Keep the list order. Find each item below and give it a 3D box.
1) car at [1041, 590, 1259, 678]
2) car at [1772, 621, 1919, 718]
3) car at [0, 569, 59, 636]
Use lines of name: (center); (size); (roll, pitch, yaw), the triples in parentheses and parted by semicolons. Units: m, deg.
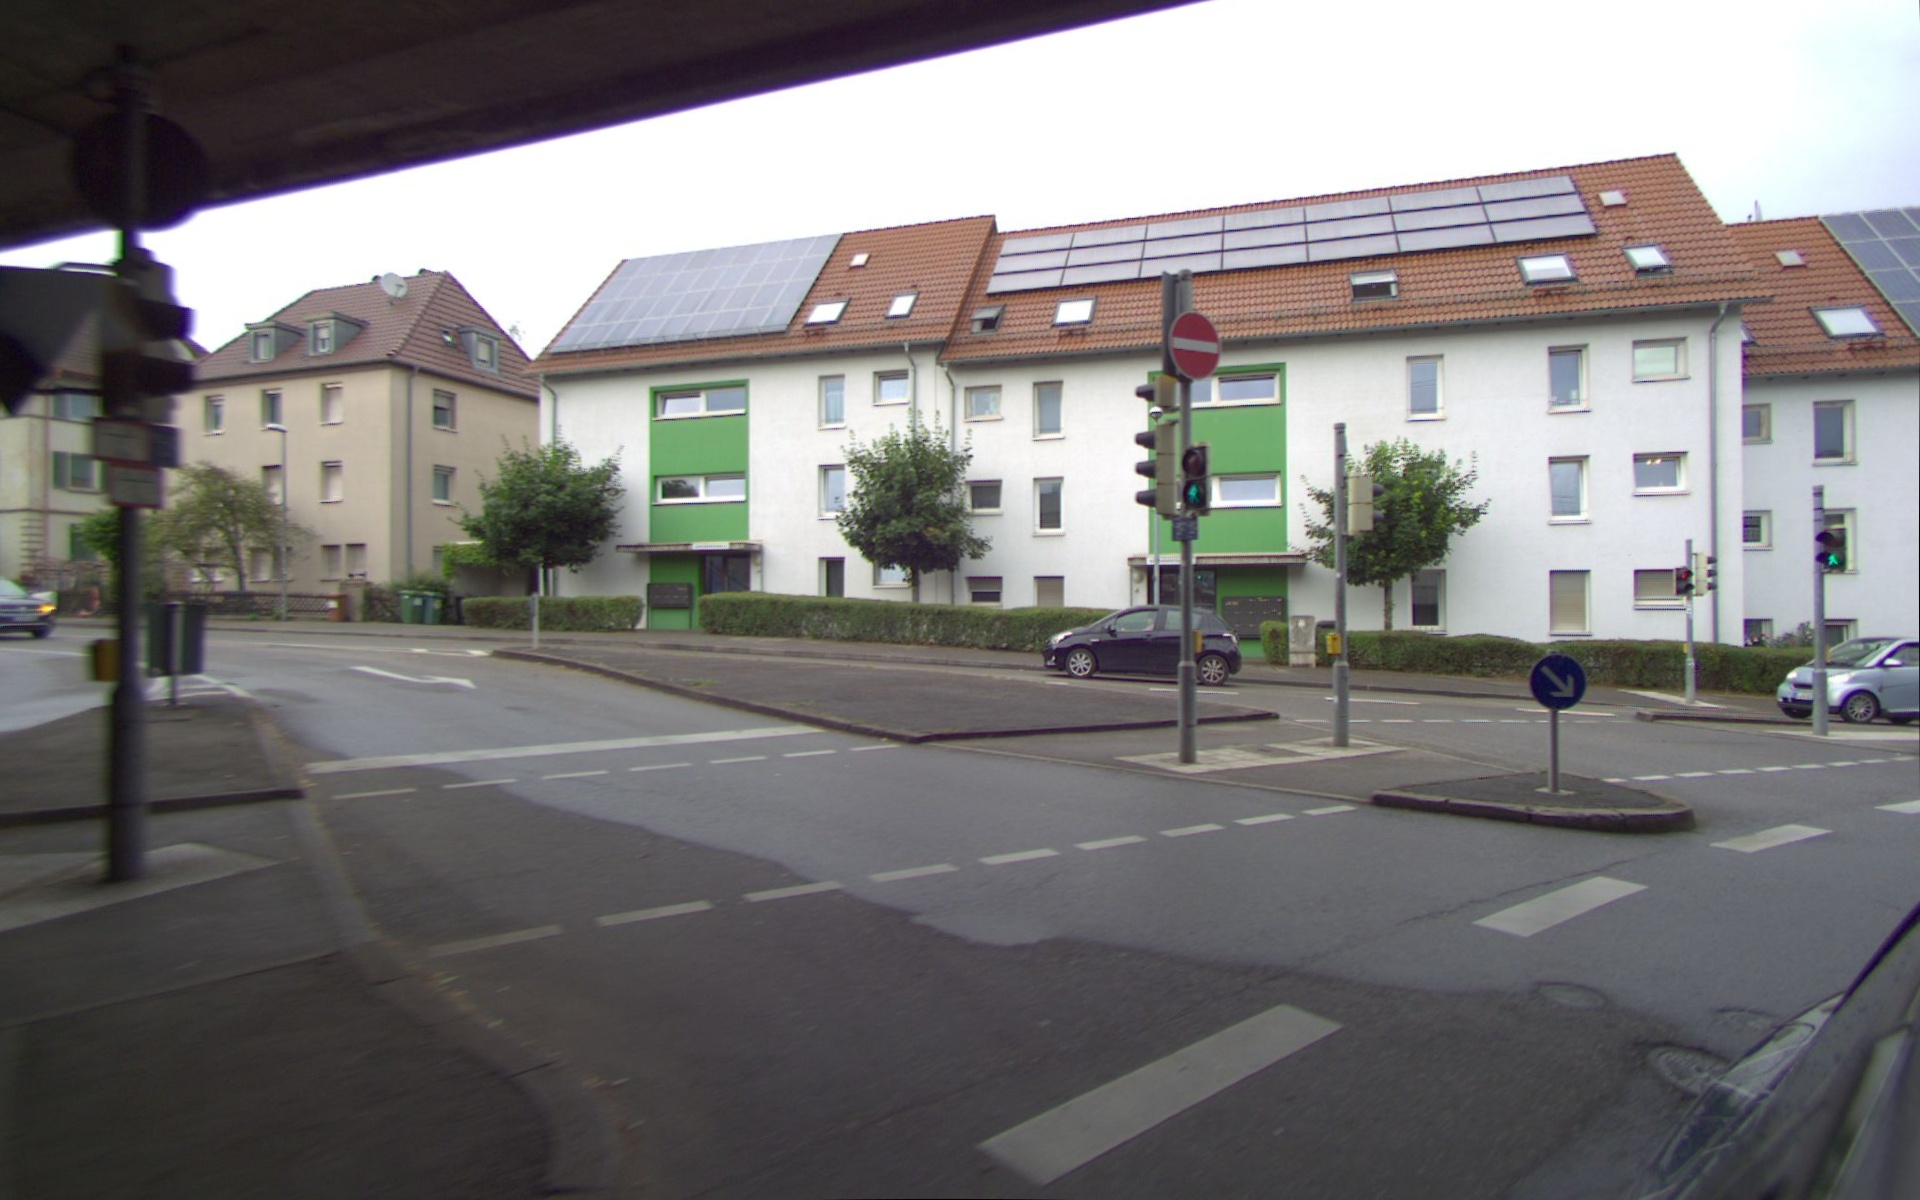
car: (3.646, 0.644, 19.623); (3.938, 1.477, 1.639); (2, -2, 12)
car: (16.664, 1.220, 17.621); (3.565, 1.577, 1.642); (2, -1, 6)
car: (-24.633, 0.022, 25.455); (4.200, 1.599, 1.751); (1, 2, 31)
